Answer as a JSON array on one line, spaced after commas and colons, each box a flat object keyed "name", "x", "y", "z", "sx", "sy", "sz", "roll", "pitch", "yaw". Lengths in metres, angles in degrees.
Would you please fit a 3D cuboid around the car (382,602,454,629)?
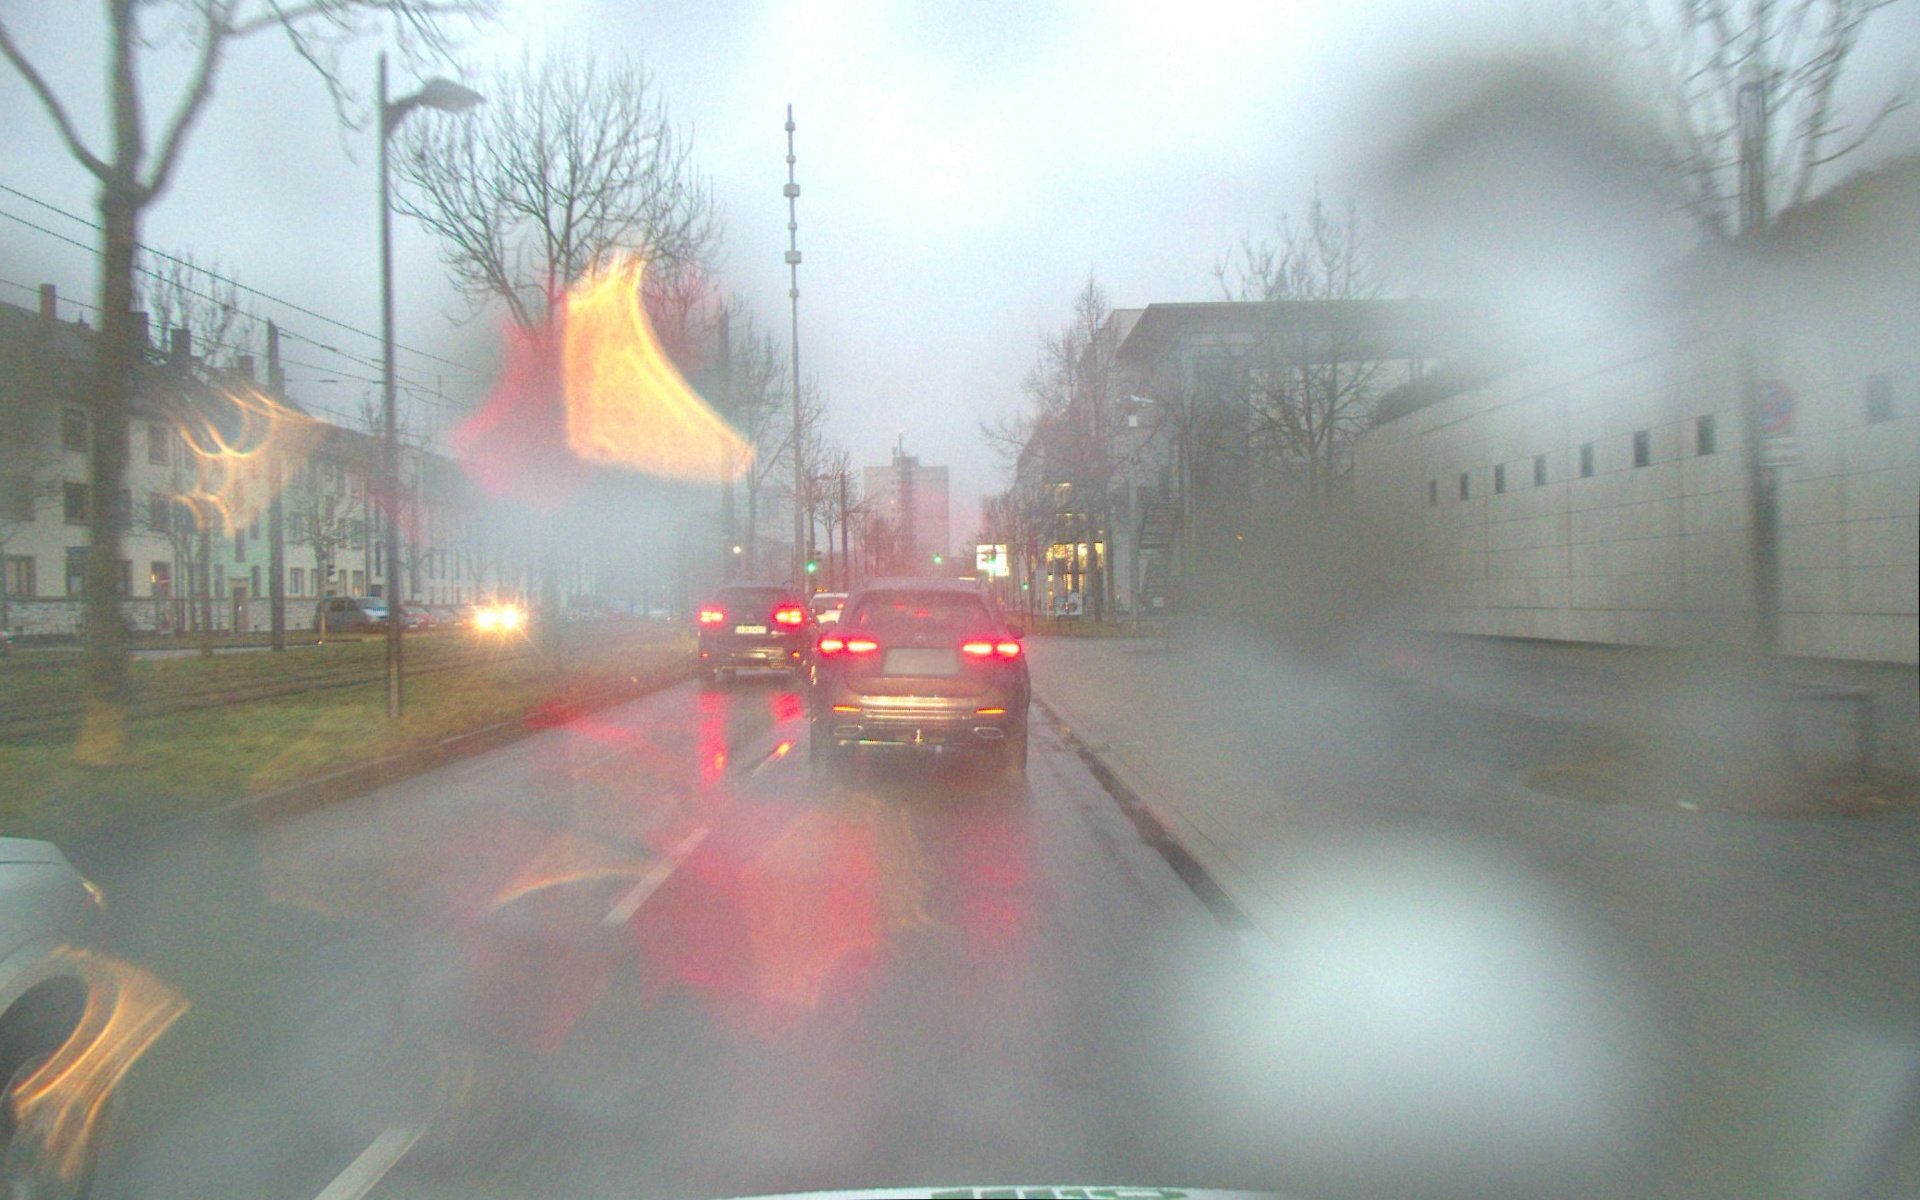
[{"name": "car", "x": -28.010, "y": 0.792, "z": 85.469, "sx": 3.504, "sy": 1.332, "sz": 1.682, "roll": 1, "pitch": 0, "yaw": 32}]

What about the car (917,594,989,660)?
[{"name": "car", "x": -0.211, "y": 0.693, "z": 43.568, "sx": 1.817, "sy": 1.664, "sz": 3.473, "roll": 0, "pitch": 0, "yaw": -1}]

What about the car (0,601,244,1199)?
[{"name": "car", "x": -2.630, "y": 0.749, "z": 2.205, "sx": 1.654, "sy": 1.500, "sz": 4.000, "roll": 0, "pitch": 0, "yaw": -1}]

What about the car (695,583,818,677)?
[{"name": "car", "x": -3.410, "y": 0.482, "z": 28.294, "sx": 1.781, "sy": 1.476, "sz": 3.998, "roll": 0, "pitch": 0, "yaw": -3}]

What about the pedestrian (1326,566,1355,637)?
[{"name": "pedestrian", "x": 8.968, "y": 0.034, "z": 39.021, "sx": 0.658, "sy": 1.640, "sz": 0.615, "roll": 0, "pitch": 0, "yaw": 13}]

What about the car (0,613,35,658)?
[{"name": "car", "x": -28.046, "y": 0.939, "z": 46.912, "sx": 4.027, "sy": 1.181, "sz": 1.704, "roll": 2, "pitch": -1, "yaw": 38}]

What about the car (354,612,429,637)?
[{"name": "car", "x": -28.379, "y": 1.200, "z": 82.491, "sx": 3.495, "sy": 1.161, "sz": 1.733, "roll": 1, "pitch": 0, "yaw": 32}]

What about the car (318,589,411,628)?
[{"name": "car", "x": -28.498, "y": 0.403, "z": 79.075, "sx": 4.561, "sy": 1.754, "sz": 1.828, "roll": 1, "pitch": 0, "yaw": 33}]

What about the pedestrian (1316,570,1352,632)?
[{"name": "pedestrian", "x": 10.441, "y": 0.024, "z": 46.184, "sx": 0.654, "sy": 1.684, "sz": 0.993, "roll": -2, "pitch": -1, "yaw": -6}]

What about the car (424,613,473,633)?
[{"name": "car", "x": -28.282, "y": 1.259, "z": 91.500, "sx": 2.341, "sy": 1.067, "sz": 1.433, "roll": 1, "pitch": 1, "yaw": 32}]

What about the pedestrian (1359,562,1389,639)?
[{"name": "pedestrian", "x": 9.715, "y": 0.010, "z": 38.802, "sx": 0.658, "sy": 1.809, "sz": 0.615, "roll": 0, "pitch": 0, "yaw": 13}]

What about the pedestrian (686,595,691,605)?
[{"name": "pedestrian", "x": -31.485, "y": 0.003, "z": 191.688, "sx": 0.343, "sy": 1.205, "sz": 0.427, "roll": 1, "pitch": -1, "yaw": -42}]

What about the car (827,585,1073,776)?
[{"name": "car", "x": -0.109, "y": 0.651, "z": 15.023, "sx": 1.953, "sy": 1.509, "sz": 3.699, "roll": 0, "pitch": 0, "yaw": -1}]

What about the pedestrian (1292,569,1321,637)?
[{"name": "pedestrian", "x": 8.457, "y": 0.070, "z": 40.315, "sx": 0.658, "sy": 1.653, "sz": 0.615, "roll": 0, "pitch": 0, "yaw": 14}]

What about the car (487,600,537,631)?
[{"name": "car", "x": -22.889, "y": 0.782, "z": 84.526, "sx": 1.514, "sy": 1.530, "sz": 3.783, "roll": 0, "pitch": 0, "yaw": 0}]

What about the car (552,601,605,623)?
[{"name": "car", "x": -28.636, "y": 0.900, "z": 124.113, "sx": 3.765, "sy": 1.616, "sz": 1.739, "roll": 0, "pitch": 0, "yaw": 30}]

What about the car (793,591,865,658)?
[{"name": "car", "x": -3.370, "y": 0.605, "z": 43.164, "sx": 1.655, "sy": 1.664, "sz": 3.473, "roll": 0, "pitch": 0, "yaw": -1}]
